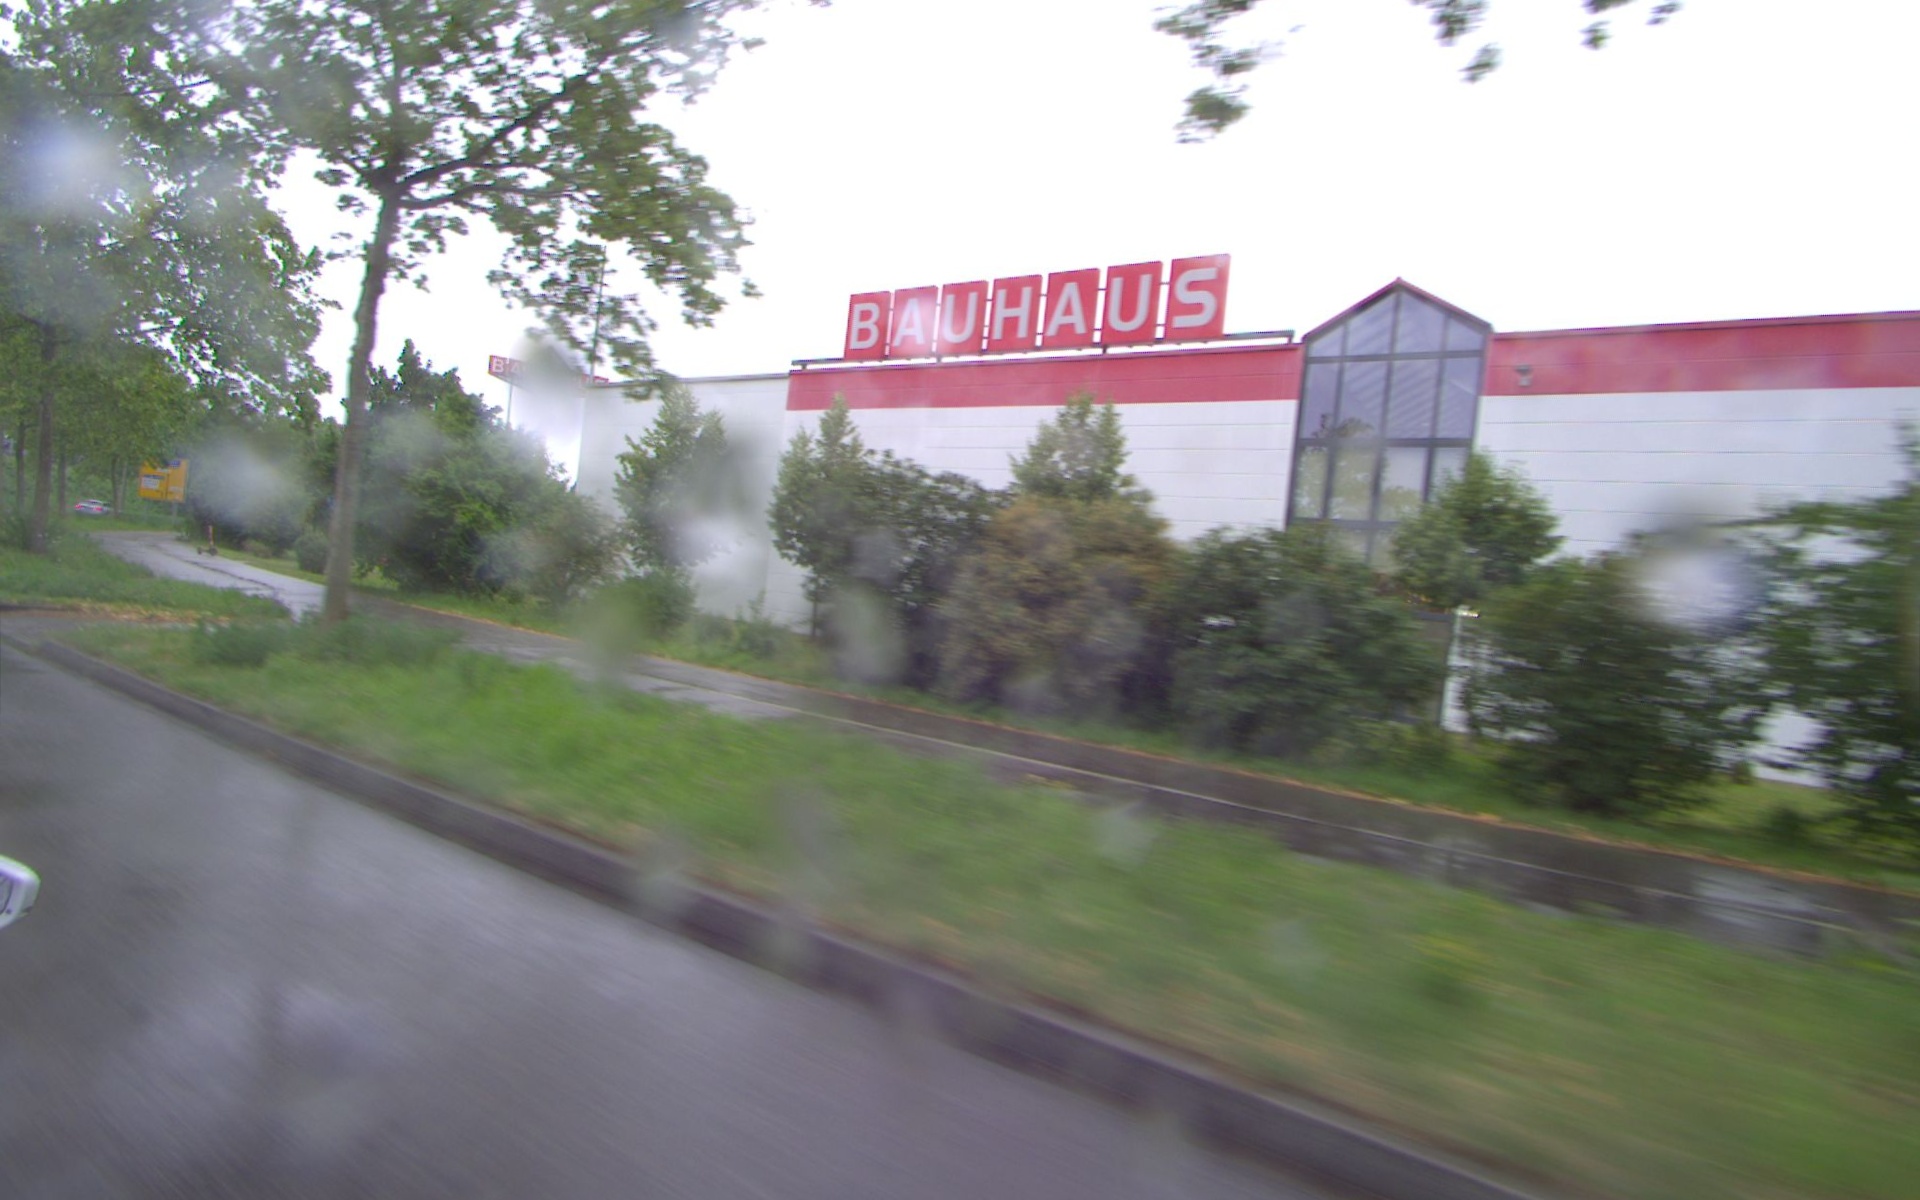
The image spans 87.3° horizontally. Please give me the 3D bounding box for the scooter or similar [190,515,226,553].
[{"bbox_3d":[-26.764,-2.334,35.805,1.093,1.212,0.549,7,0,32],"label":"scooter or similar"}]

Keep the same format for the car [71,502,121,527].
[{"bbox_3d":[-68.881,-6.794,80.245,1.763,1.573,3.978,9,-1,-23],"label":"car"}]
